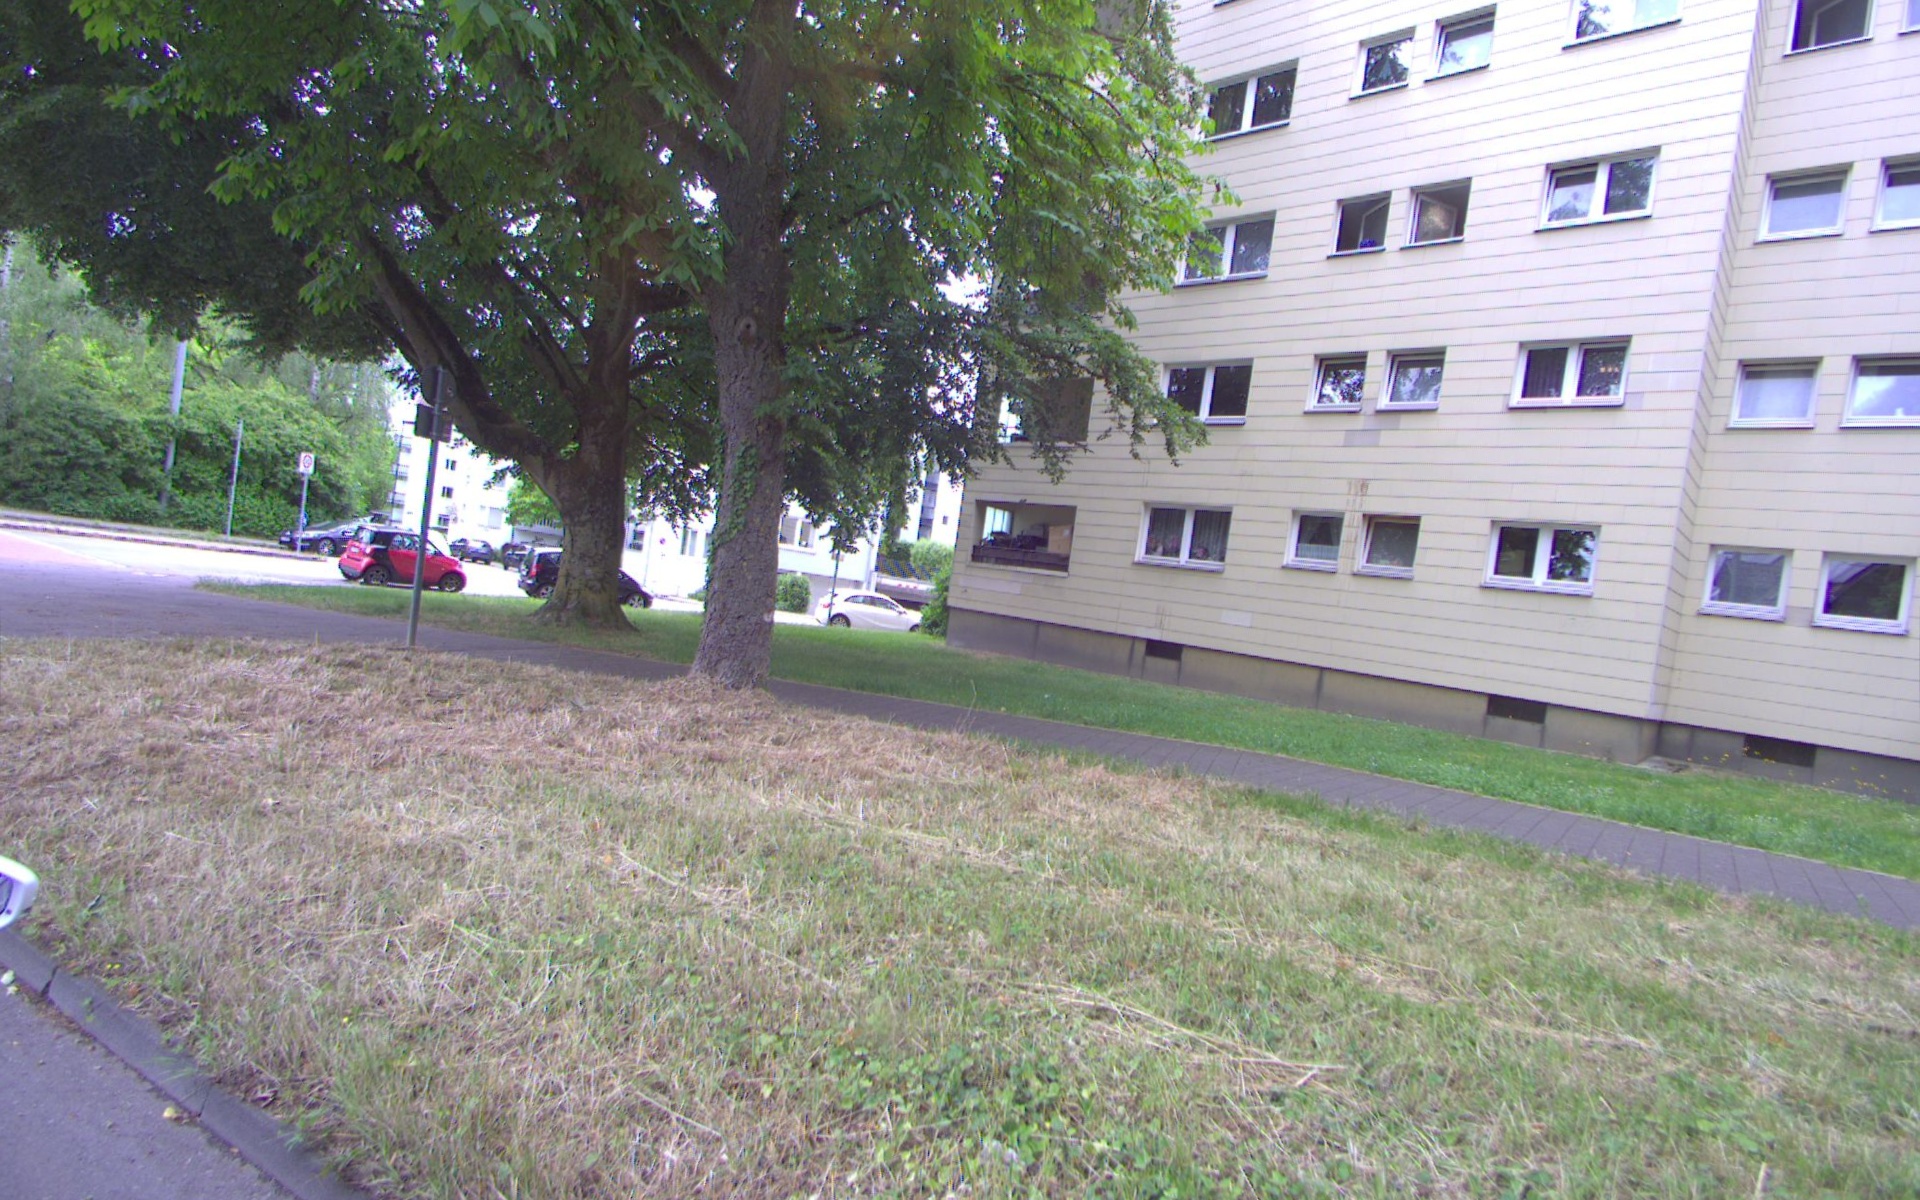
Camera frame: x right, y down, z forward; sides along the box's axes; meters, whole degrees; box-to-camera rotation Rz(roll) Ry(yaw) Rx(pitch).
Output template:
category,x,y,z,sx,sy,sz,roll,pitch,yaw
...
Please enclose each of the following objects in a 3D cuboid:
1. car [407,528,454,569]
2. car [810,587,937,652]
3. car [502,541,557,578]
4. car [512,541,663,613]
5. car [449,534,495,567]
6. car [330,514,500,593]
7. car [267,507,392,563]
category,x,y,z,sx,sy,sz,roll,pitch,yaw
car,-24.879,-2.438,47.180,1.709,1.631,3.823,6,1,-30
car,-2.887,0.634,33.307,3.796,1.631,1.721,7,1,-18
car,-23.190,-2.194,54.068,1.713,1.631,3.813,6,1,-38
car,-11.059,-0.672,29.919,3.814,1.631,1.713,6,1,-33
car,-30.115,-3.068,62.021,1.713,1.631,3.813,6,1,-38
car,-14.529,-1.205,26.944,1.702,1.631,3.516,8,1,37
car,-23.404,-2.401,37.428,1.702,1.549,3.515,8,1,38
